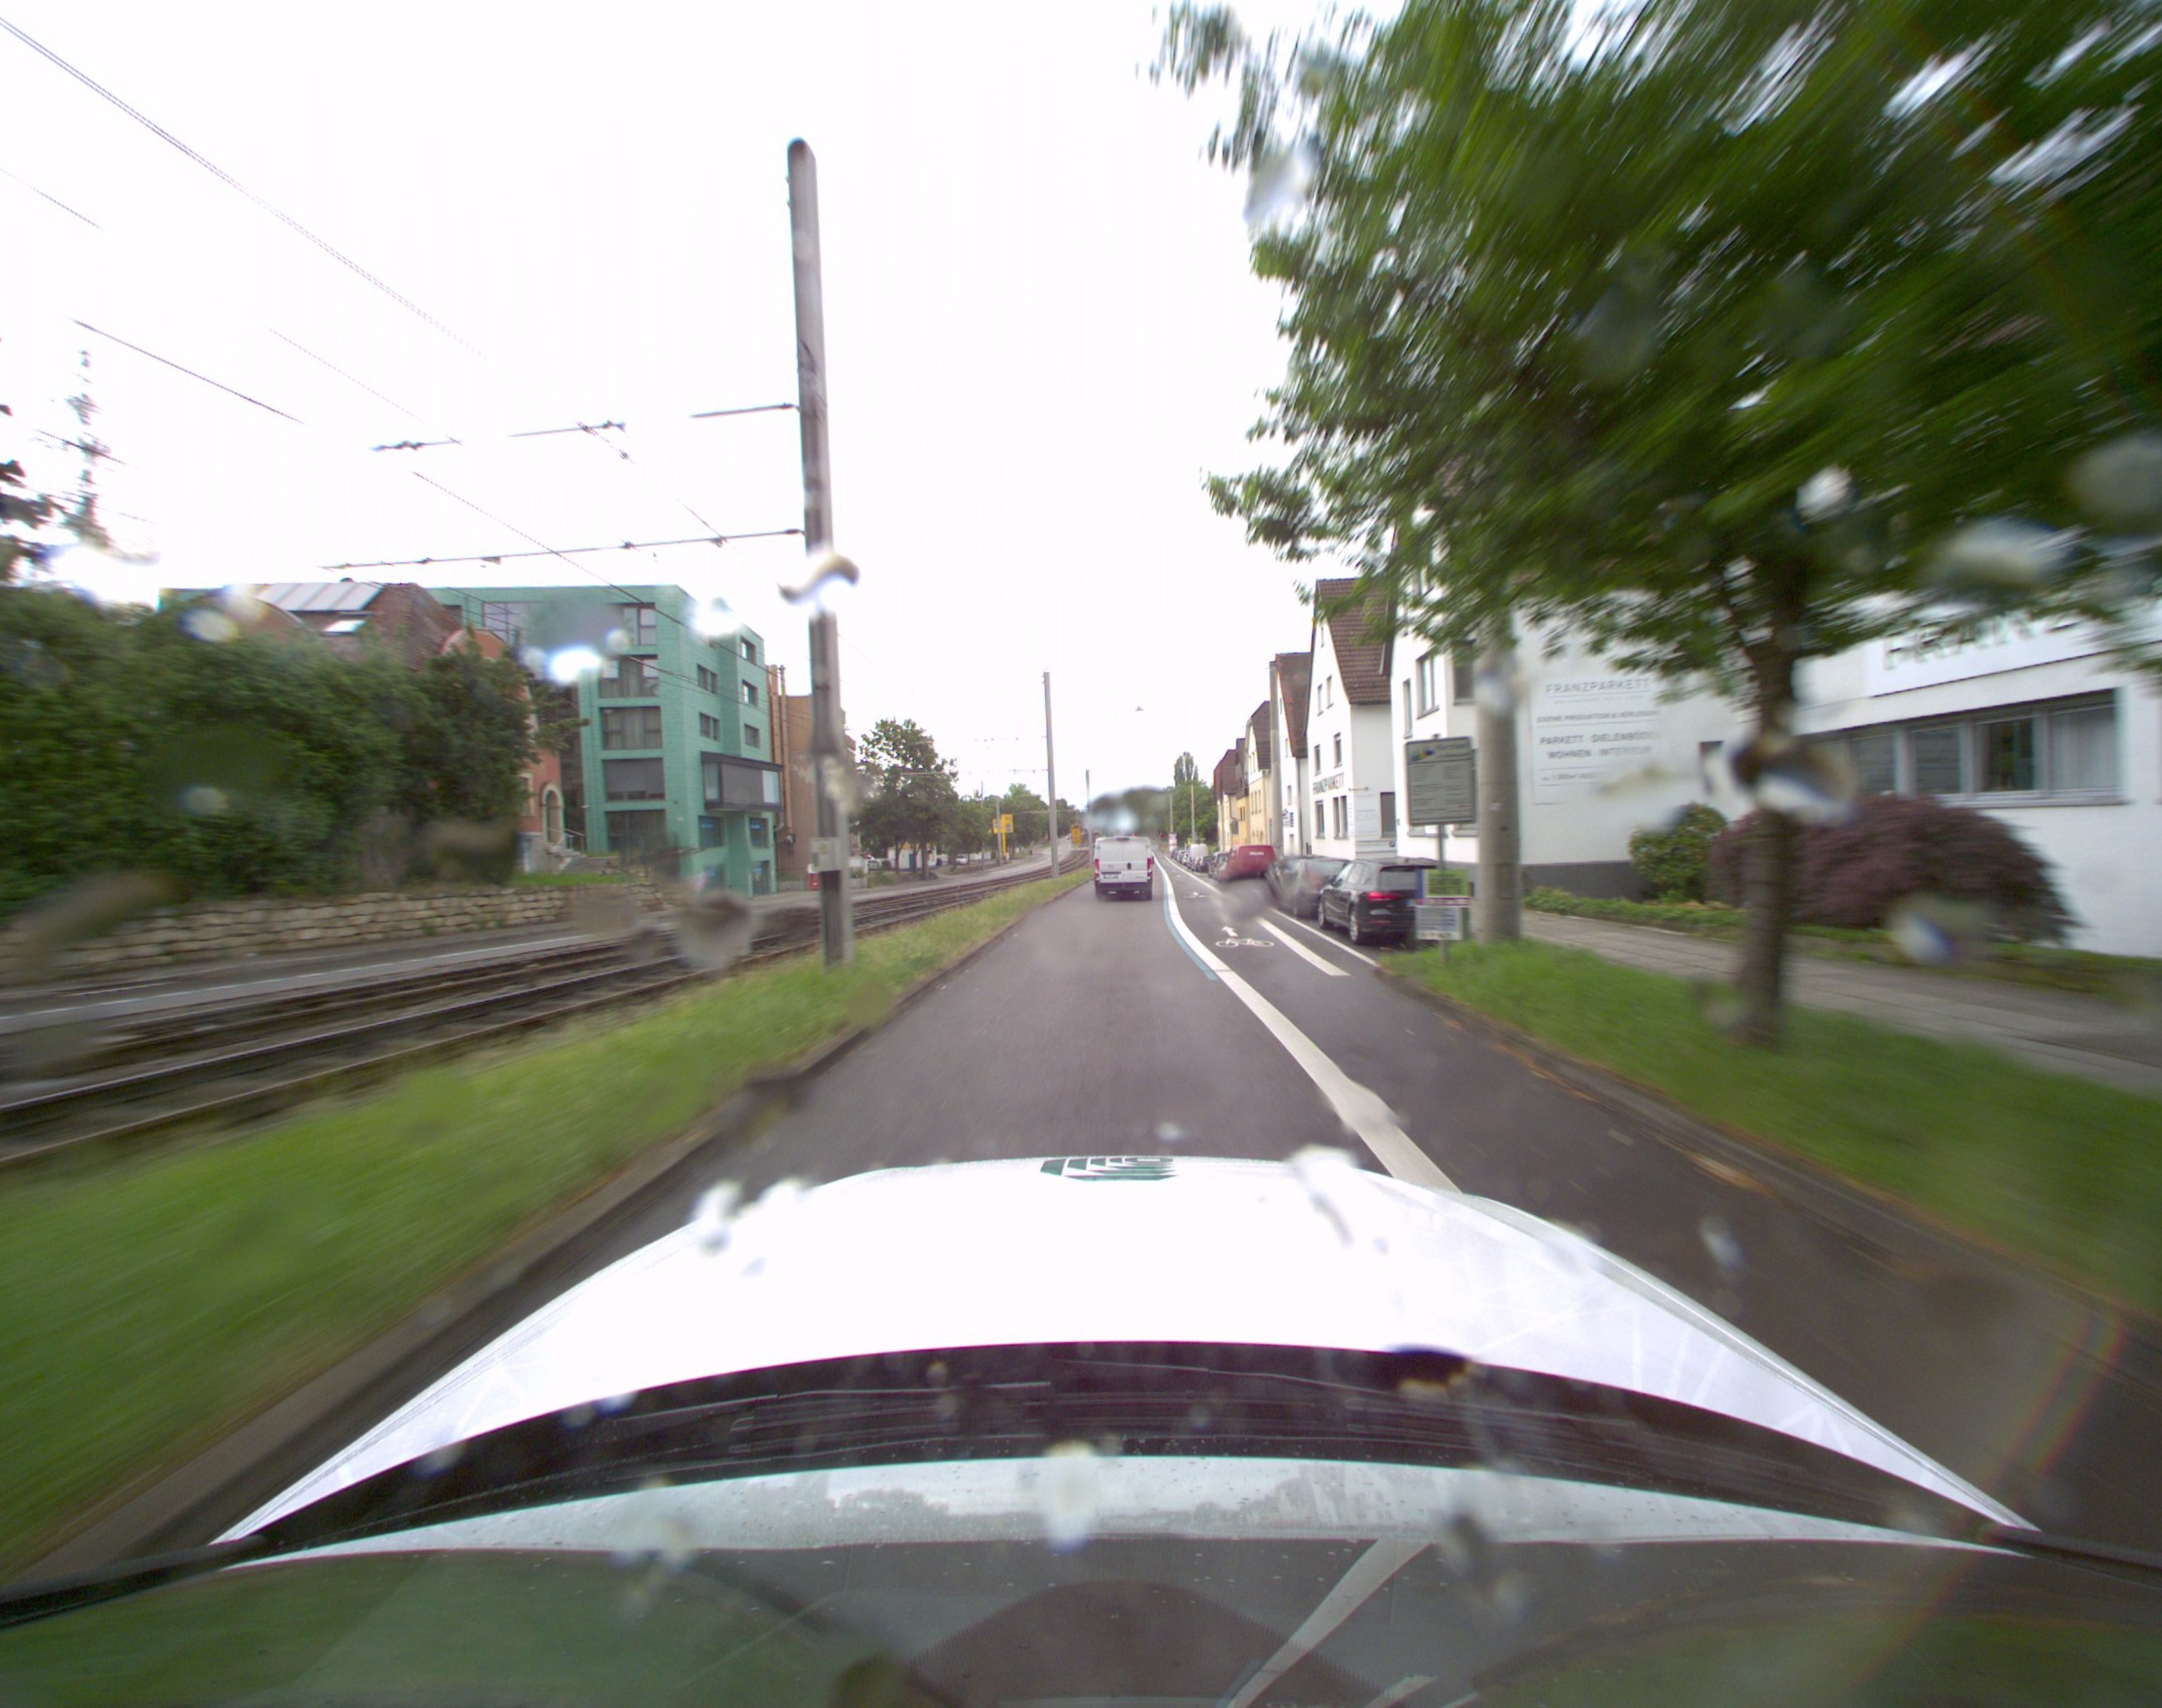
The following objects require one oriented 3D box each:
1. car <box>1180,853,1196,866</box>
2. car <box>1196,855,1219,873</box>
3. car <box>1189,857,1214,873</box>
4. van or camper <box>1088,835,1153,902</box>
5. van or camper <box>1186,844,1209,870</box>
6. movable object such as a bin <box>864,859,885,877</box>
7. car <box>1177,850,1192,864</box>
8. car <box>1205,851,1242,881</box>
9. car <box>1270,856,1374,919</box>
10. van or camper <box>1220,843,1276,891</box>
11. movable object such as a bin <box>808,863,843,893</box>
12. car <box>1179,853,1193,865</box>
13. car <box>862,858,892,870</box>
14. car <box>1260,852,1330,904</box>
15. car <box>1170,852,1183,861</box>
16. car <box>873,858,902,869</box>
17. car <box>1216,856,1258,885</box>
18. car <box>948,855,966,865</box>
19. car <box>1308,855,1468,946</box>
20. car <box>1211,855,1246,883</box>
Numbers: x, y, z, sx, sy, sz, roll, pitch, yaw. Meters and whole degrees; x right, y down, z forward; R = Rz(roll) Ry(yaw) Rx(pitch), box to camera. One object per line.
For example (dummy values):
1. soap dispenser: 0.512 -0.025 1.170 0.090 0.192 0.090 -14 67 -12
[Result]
1. car: 13.204 0.675 100.473 1.639 1.615 4.109 0 1 4
2. car: 11.071 0.863 71.404 1.560 1.498 3.513 0 0 1
3. car: 11.422 1.016 77.353 1.782 1.406 4.553 0 0 1
4. van or camper: 1.368 0.501 29.987 2.191 2.252 4.684 0 0 0
5. van or camper: 12.072 0.242 84.640 1.985 2.563 6.050 0 1 4
6. movable object such as a bin: -24.528 1.617 96.666 1.992 1.919 3.563 0 1 -7
7. car: 14.093 0.388 111.449 1.740 1.807 3.957 -1 1 3
8. car: 9.163 0.740 52.674 1.831 1.800 4.691 0 0 4
9. car: 6.040 0.782 20.946 1.703 1.412 4.572 -2 0 6
10. van or camper: 7.442 0.554 36.712 1.842 1.920 5.001 -2 0 5
11. movable object such as a bin: -19.201 1.782 61.194 2.130 2.157 1.799 0 1 -5
12. car: 13.622 0.669 105.942 1.639 1.446 3.958 0 1 4
13. car: -27.156 1.313 108.508 3.779 1.454 1.541 0 0 -22
14. car: 6.694 0.747 25.793 1.570 1.451 3.726 -3 -1 6
15. car: 15.777 0.411 134.792 1.840 1.500 3.957 -1 0 3
16. car: -26.768 1.347 112.695 3.779 1.479 1.564 0 0 -22
17. car: 8.020 0.824 42.223 1.787 1.376 4.679 -2 0 7
18. car: -18.735 0.861 123.135 1.986 1.442 4.001 0 0 2
19. car: 5.529 0.755 15.281 1.668 1.423 4.572 -1 0 6
20. car: 8.630 0.851 47.937 1.626 1.538 4.140 0 0 4
